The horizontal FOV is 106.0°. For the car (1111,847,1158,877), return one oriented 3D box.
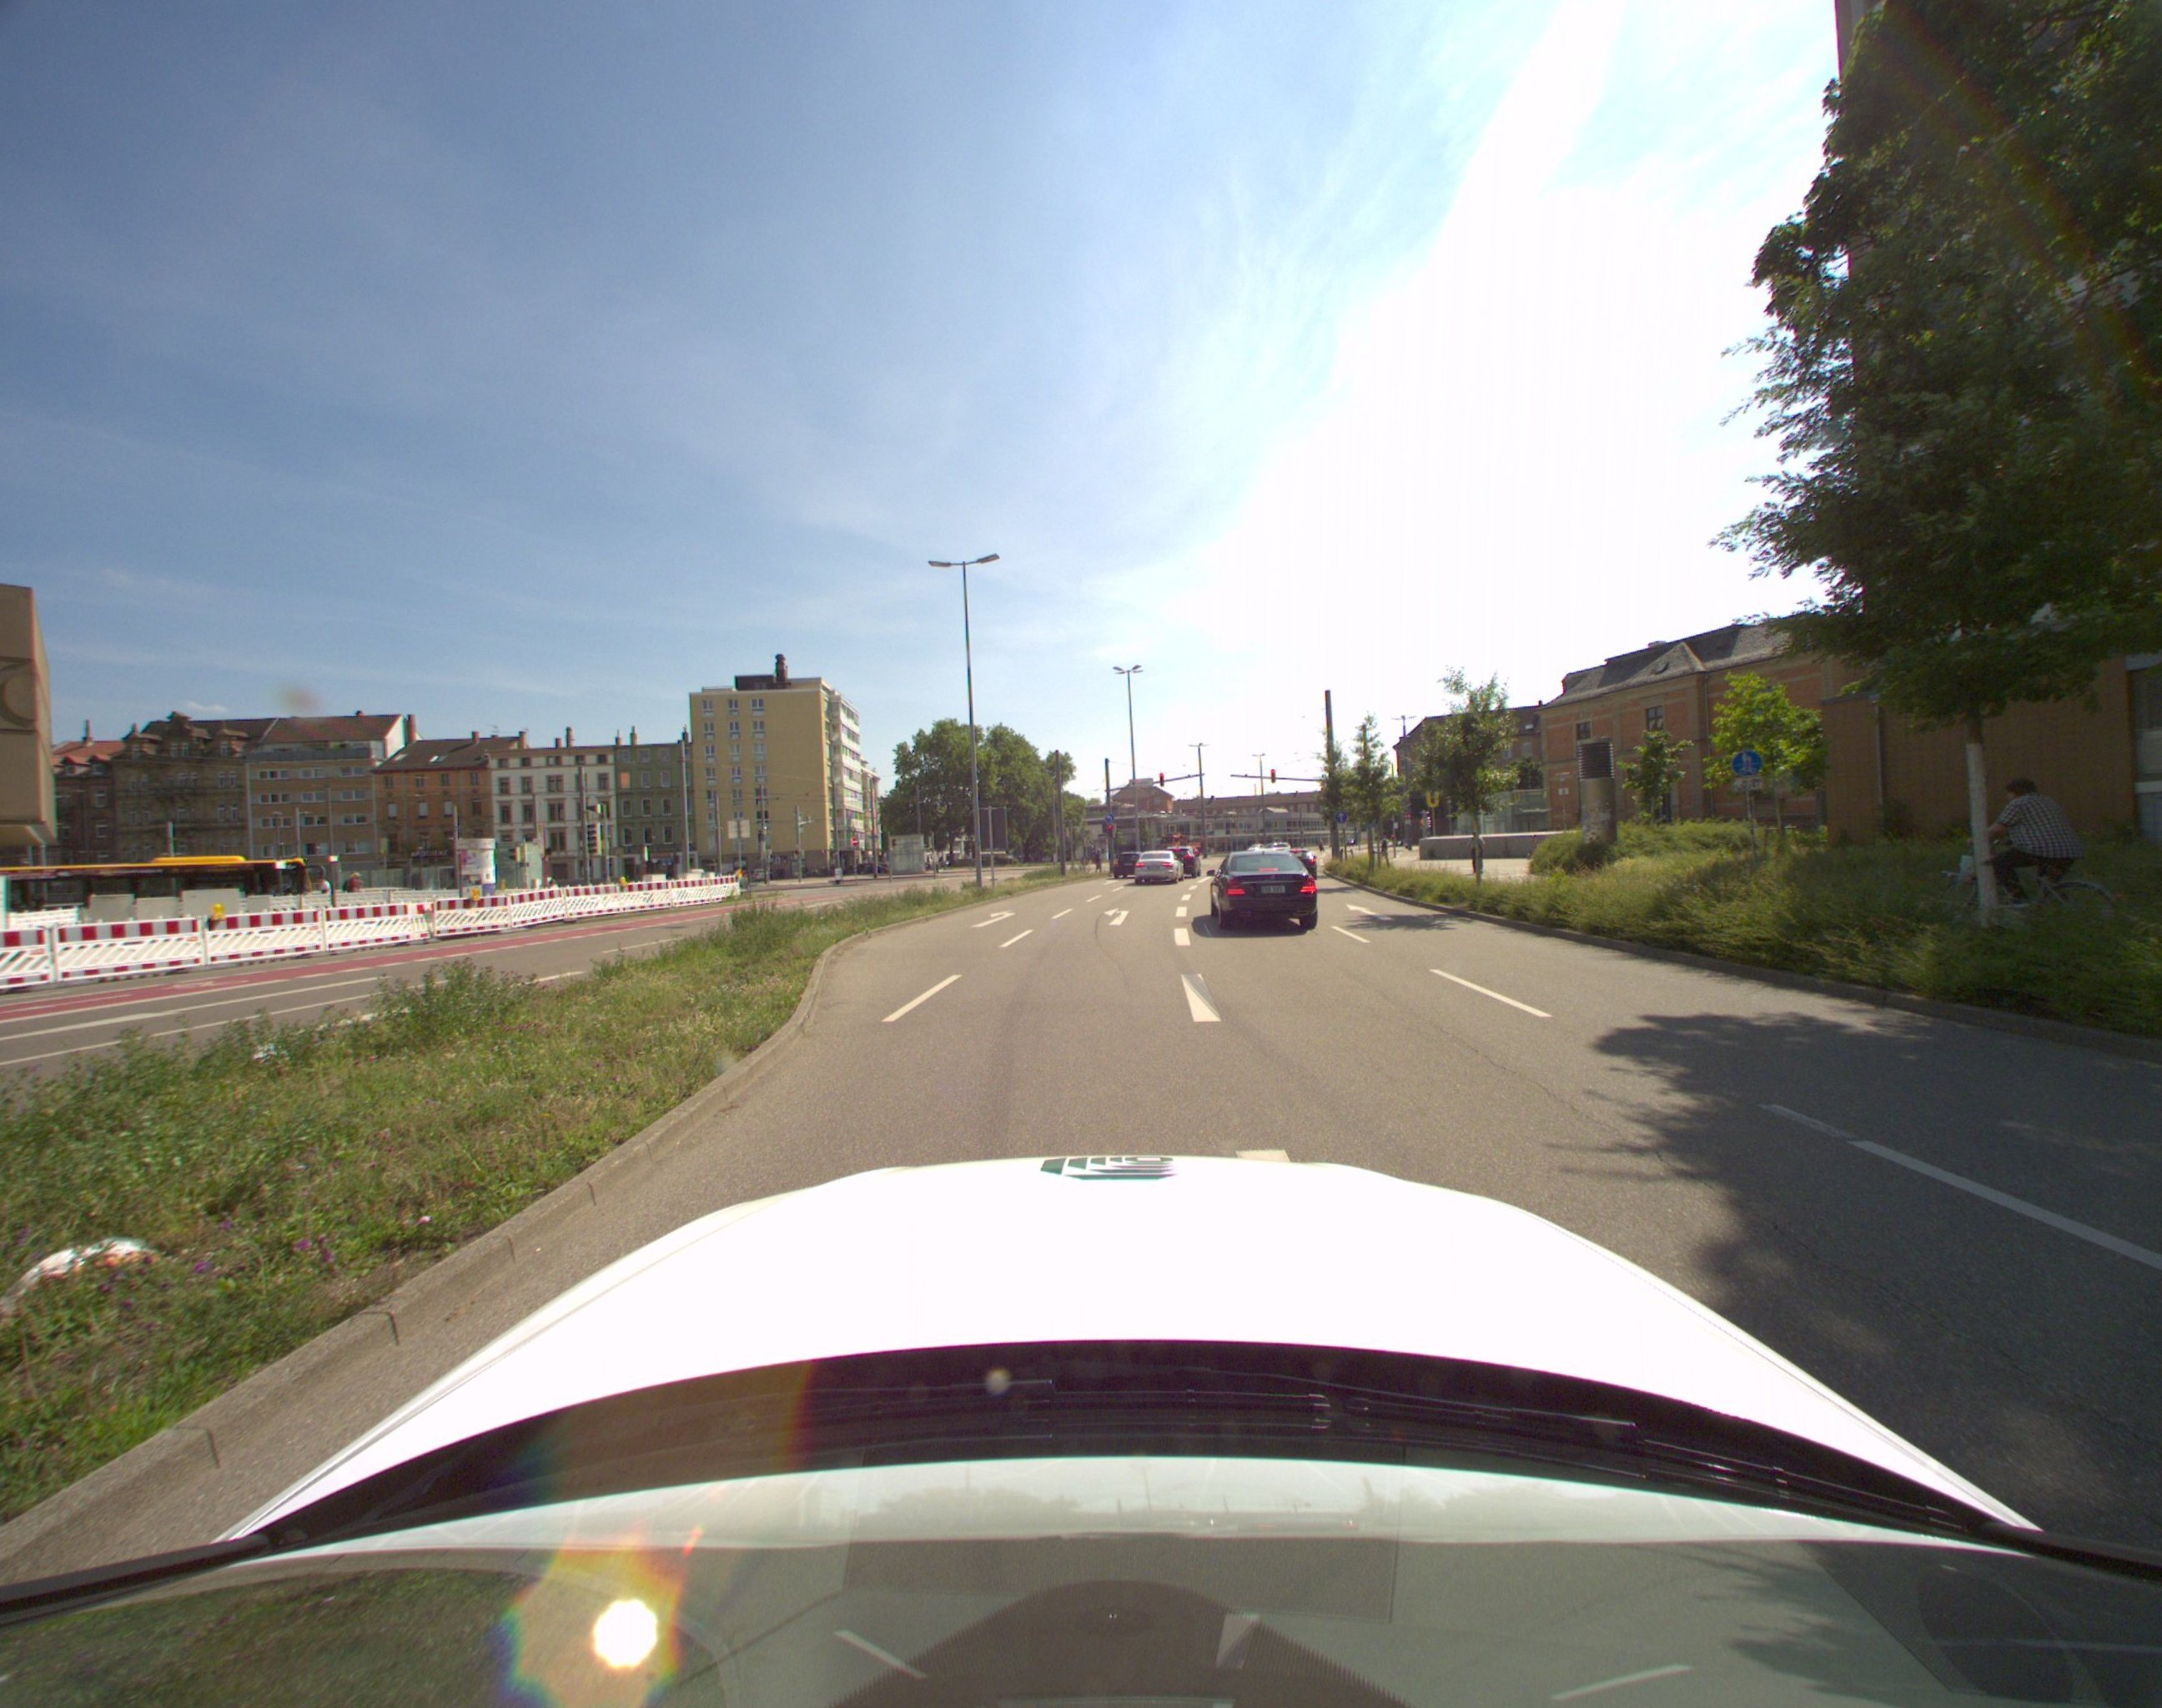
[{"bbox_3d":[3.000,0.409,44.978,1.781,1.510,4.017,-3,0,15],"label":"car"}]

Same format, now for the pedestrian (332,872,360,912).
[{"bbox_3d":[-31.040,1.607,34.409,0.642,1.661,0.654,-3,0,29],"label":"pedestrian"}]

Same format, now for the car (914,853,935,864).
[{"bbox_3d":[-31.946,0.952,166.374,3.989,2.013,1.993,-3,2,-11],"label":"car"}]

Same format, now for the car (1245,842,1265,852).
[{"bbox_3d":[28.138,-1.090,131.838,1.777,1.510,4.026,-3,0,34],"label":"car"}]

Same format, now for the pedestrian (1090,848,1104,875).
[{"bbox_3d":[1.013,0.452,51.202,0.643,1.661,0.666,-3,0,18],"label":"pedestrian"}]

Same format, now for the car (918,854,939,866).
[{"bbox_3d":[-30.318,1.176,161.633,3.989,2.013,1.993,-3,2,-11],"label":"car"}]

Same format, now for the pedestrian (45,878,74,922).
[{"bbox_3d":[-40.271,1.805,32.104,0.642,1.661,0.654,-3,0,38],"label":"pedestrian"}]

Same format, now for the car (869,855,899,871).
[{"bbox_3d":[-27.693,1.232,114.615,3.989,2.013,1.993,-3,2,-11],"label":"car"}]

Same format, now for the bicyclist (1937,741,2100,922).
[{"bbox_3d":[10.332,-0.232,9.013,0.683,1.878,0.859,-3,-1,0],"label":"bicyclist"}]

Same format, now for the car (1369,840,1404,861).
[{"bbox_3d":[24.282,-0.267,64.692,1.777,1.510,4.304,-3,0,31],"label":"car"}]

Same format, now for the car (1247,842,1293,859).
[{"bbox_3d":[18.768,-0.341,80.791,4.291,1.510,1.782,-3,0,-31],"label":"car"}]

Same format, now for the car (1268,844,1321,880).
[{"bbox_3d":[9.730,0.329,37.408,1.784,1.510,4.008,-2,0,7],"label":"car"}]

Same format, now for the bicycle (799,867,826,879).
[{"bbox_3d":[-32.262,2.250,97.934,2.814,1.222,0.990,-3,2,-10],"label":"bicycle"}]

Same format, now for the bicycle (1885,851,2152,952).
[{"bbox_3d":[10.374,0.480,9.154,0.690,0.946,1.958,-5,0,1],"label":"bicycle"}]

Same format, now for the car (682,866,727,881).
[{"bbox_3d":[-40.909,2.110,88.563,4.022,1.510,1.778,-3,0,-42],"label":"car"}]

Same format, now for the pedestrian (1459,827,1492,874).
[{"bbox_3d":[15.040,-0.139,31.041,0.866,1.725,0.802,-3,0,7],"label":"pedestrian"}]

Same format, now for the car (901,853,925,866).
[{"bbox_3d":[-29.068,0.876,140.938,3.989,2.013,1.993,-3,2,-11],"label":"car"}]

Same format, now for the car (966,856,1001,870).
[{"bbox_3d":[-11.708,1.089,97.763,3.980,1.510,1.797,-3,0,-5],"label":"car"}]

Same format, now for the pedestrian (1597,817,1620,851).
[{"bbox_3d":[26.189,-1.004,40.437,0.647,1.661,0.648,-2,0,-8],"label":"pedestrian"}]

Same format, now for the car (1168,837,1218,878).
[{"bbox_3d":[5.978,0.163,43.056,1.978,2.013,4.017,-3,0,16],"label":"car"}]

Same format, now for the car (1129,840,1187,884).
[{"bbox_3d":[3.578,0.343,37.045,1.979,1.816,4.015,-3,0,14],"label":"car"}]

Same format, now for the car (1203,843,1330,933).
[{"bbox_3d":[3.684,0.645,16.985,1.850,1.530,4.719,-3,-1,5],"label":"car"}]

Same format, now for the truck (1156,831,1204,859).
[{"bbox_3d":[14.470,-1.371,118.719,3.034,3.730,7.981,-3,0,38],"label":"truck"}]
